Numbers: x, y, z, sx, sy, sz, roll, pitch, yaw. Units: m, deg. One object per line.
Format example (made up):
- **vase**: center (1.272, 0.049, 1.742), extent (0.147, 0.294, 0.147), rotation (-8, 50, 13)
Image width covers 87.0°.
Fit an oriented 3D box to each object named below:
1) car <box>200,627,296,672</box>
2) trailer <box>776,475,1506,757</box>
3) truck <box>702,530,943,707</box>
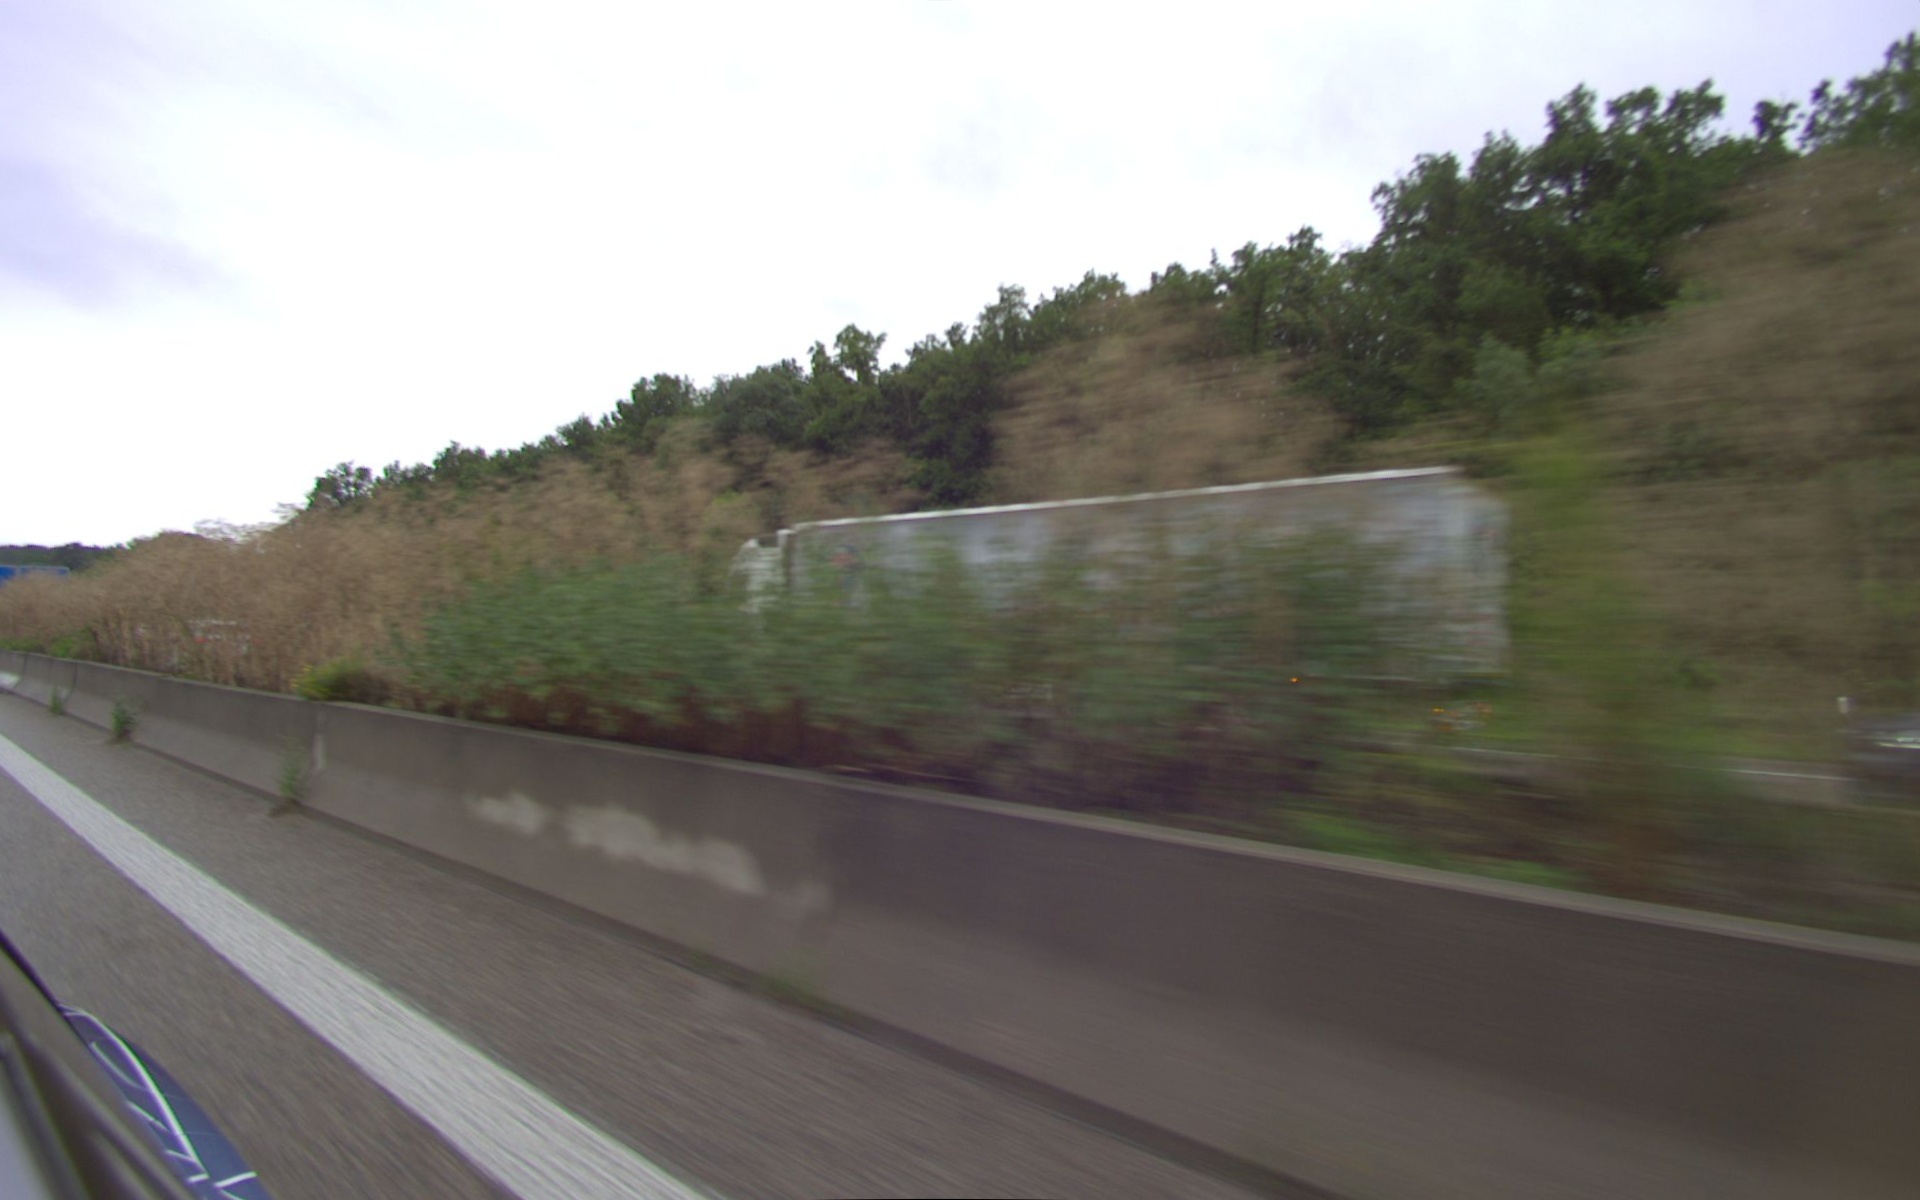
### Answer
- **car**: center (-21.269, 1.438, 30.202), extent (3.478, 1.247, 1.590), rotation (-1, -2, 41)
- **trailer**: center (2.073, 0.334, 18.117), extent (13.249, 3.512, 2.956), rotation (-1, -3, 41)
- **truck**: center (-3.139, 0.442, 22.730), extent (4.768, 3.494, 2.960), rotation (-1, -3, 42)
